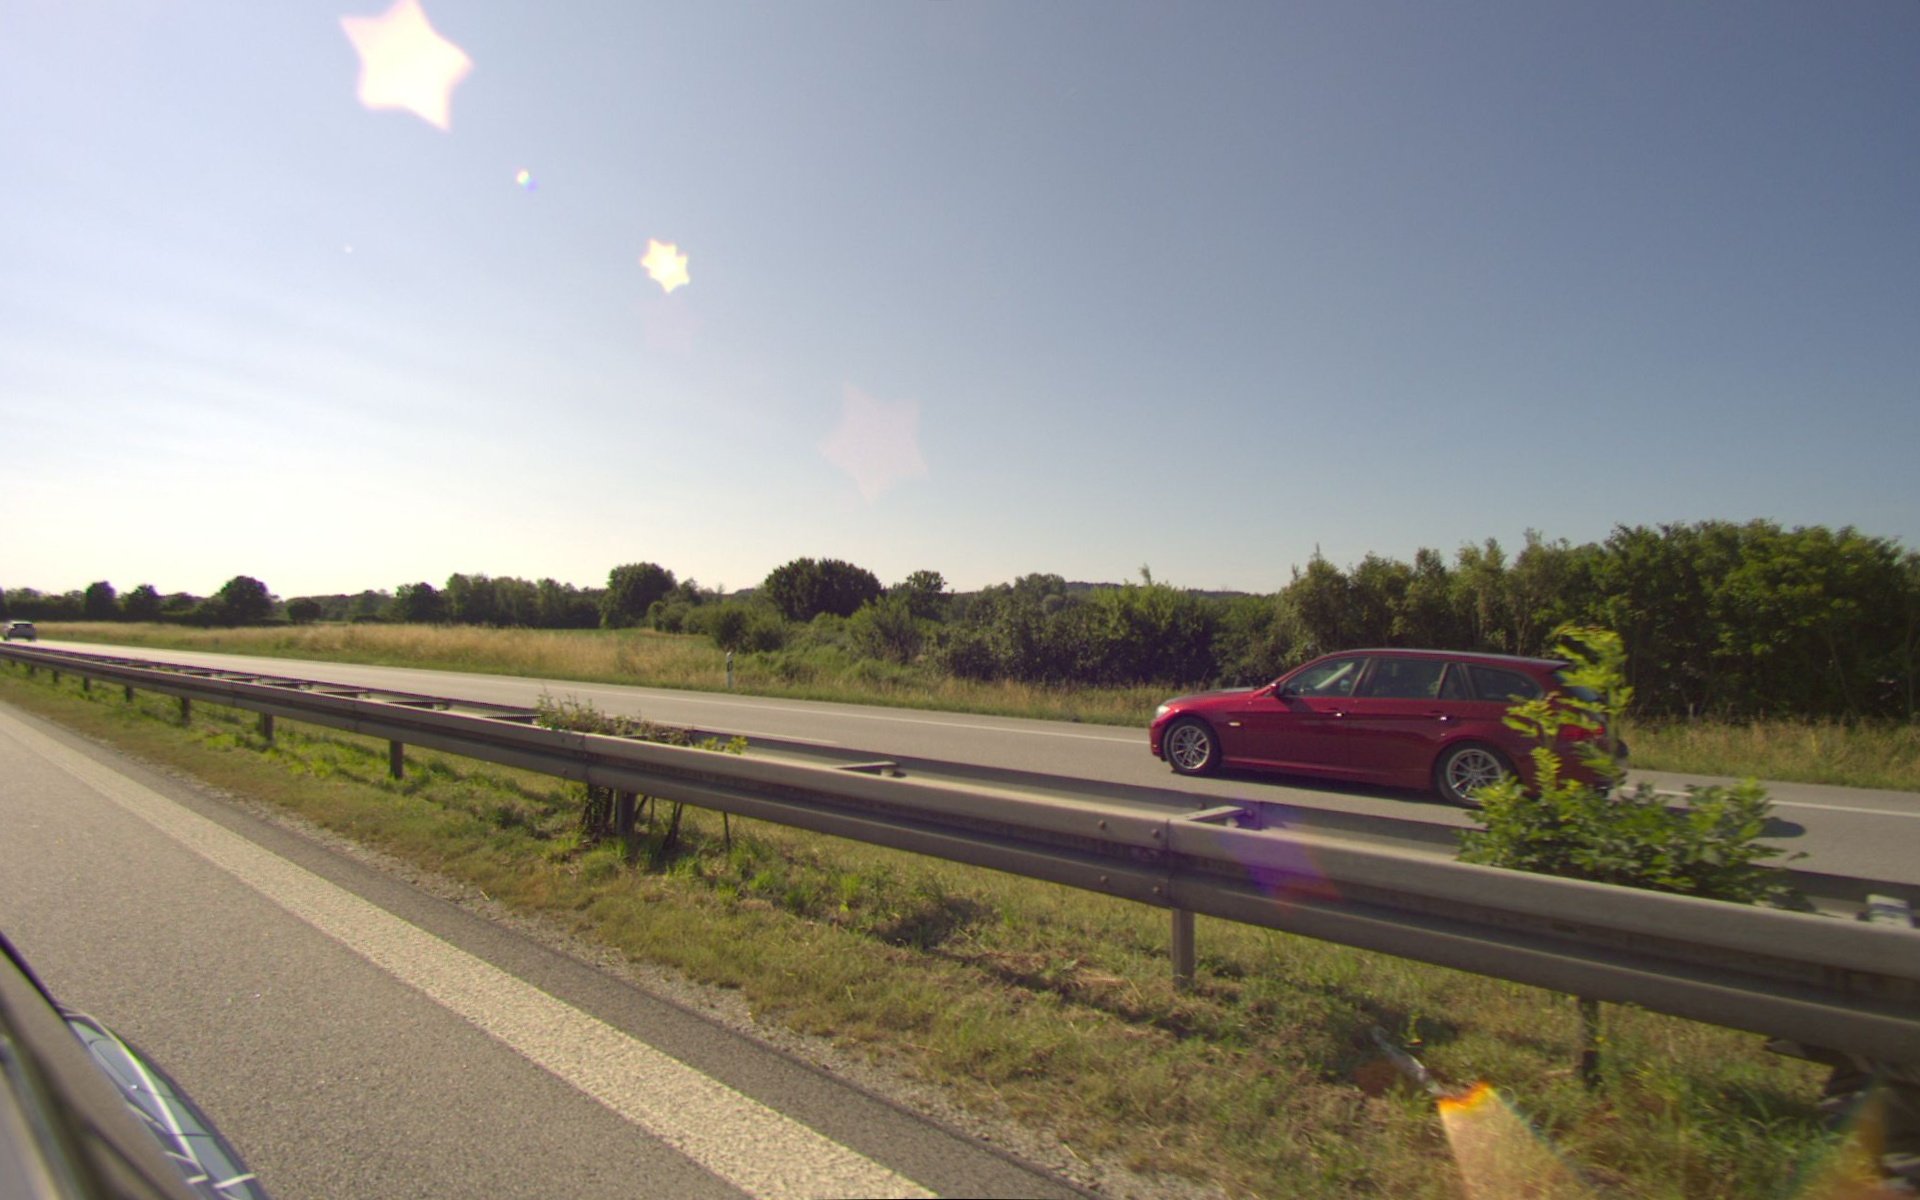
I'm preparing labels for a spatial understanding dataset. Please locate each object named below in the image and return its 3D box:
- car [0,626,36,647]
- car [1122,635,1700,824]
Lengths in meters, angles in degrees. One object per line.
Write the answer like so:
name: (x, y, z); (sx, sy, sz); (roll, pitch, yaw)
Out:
car: (-79.420, 3.060, 85.164); (4.729, 1.696, 1.882); (-1, -3, 41)
car: (4.200, 1.101, 10.016); (4.919, 1.409, 1.813); (-1, -5, 41)
